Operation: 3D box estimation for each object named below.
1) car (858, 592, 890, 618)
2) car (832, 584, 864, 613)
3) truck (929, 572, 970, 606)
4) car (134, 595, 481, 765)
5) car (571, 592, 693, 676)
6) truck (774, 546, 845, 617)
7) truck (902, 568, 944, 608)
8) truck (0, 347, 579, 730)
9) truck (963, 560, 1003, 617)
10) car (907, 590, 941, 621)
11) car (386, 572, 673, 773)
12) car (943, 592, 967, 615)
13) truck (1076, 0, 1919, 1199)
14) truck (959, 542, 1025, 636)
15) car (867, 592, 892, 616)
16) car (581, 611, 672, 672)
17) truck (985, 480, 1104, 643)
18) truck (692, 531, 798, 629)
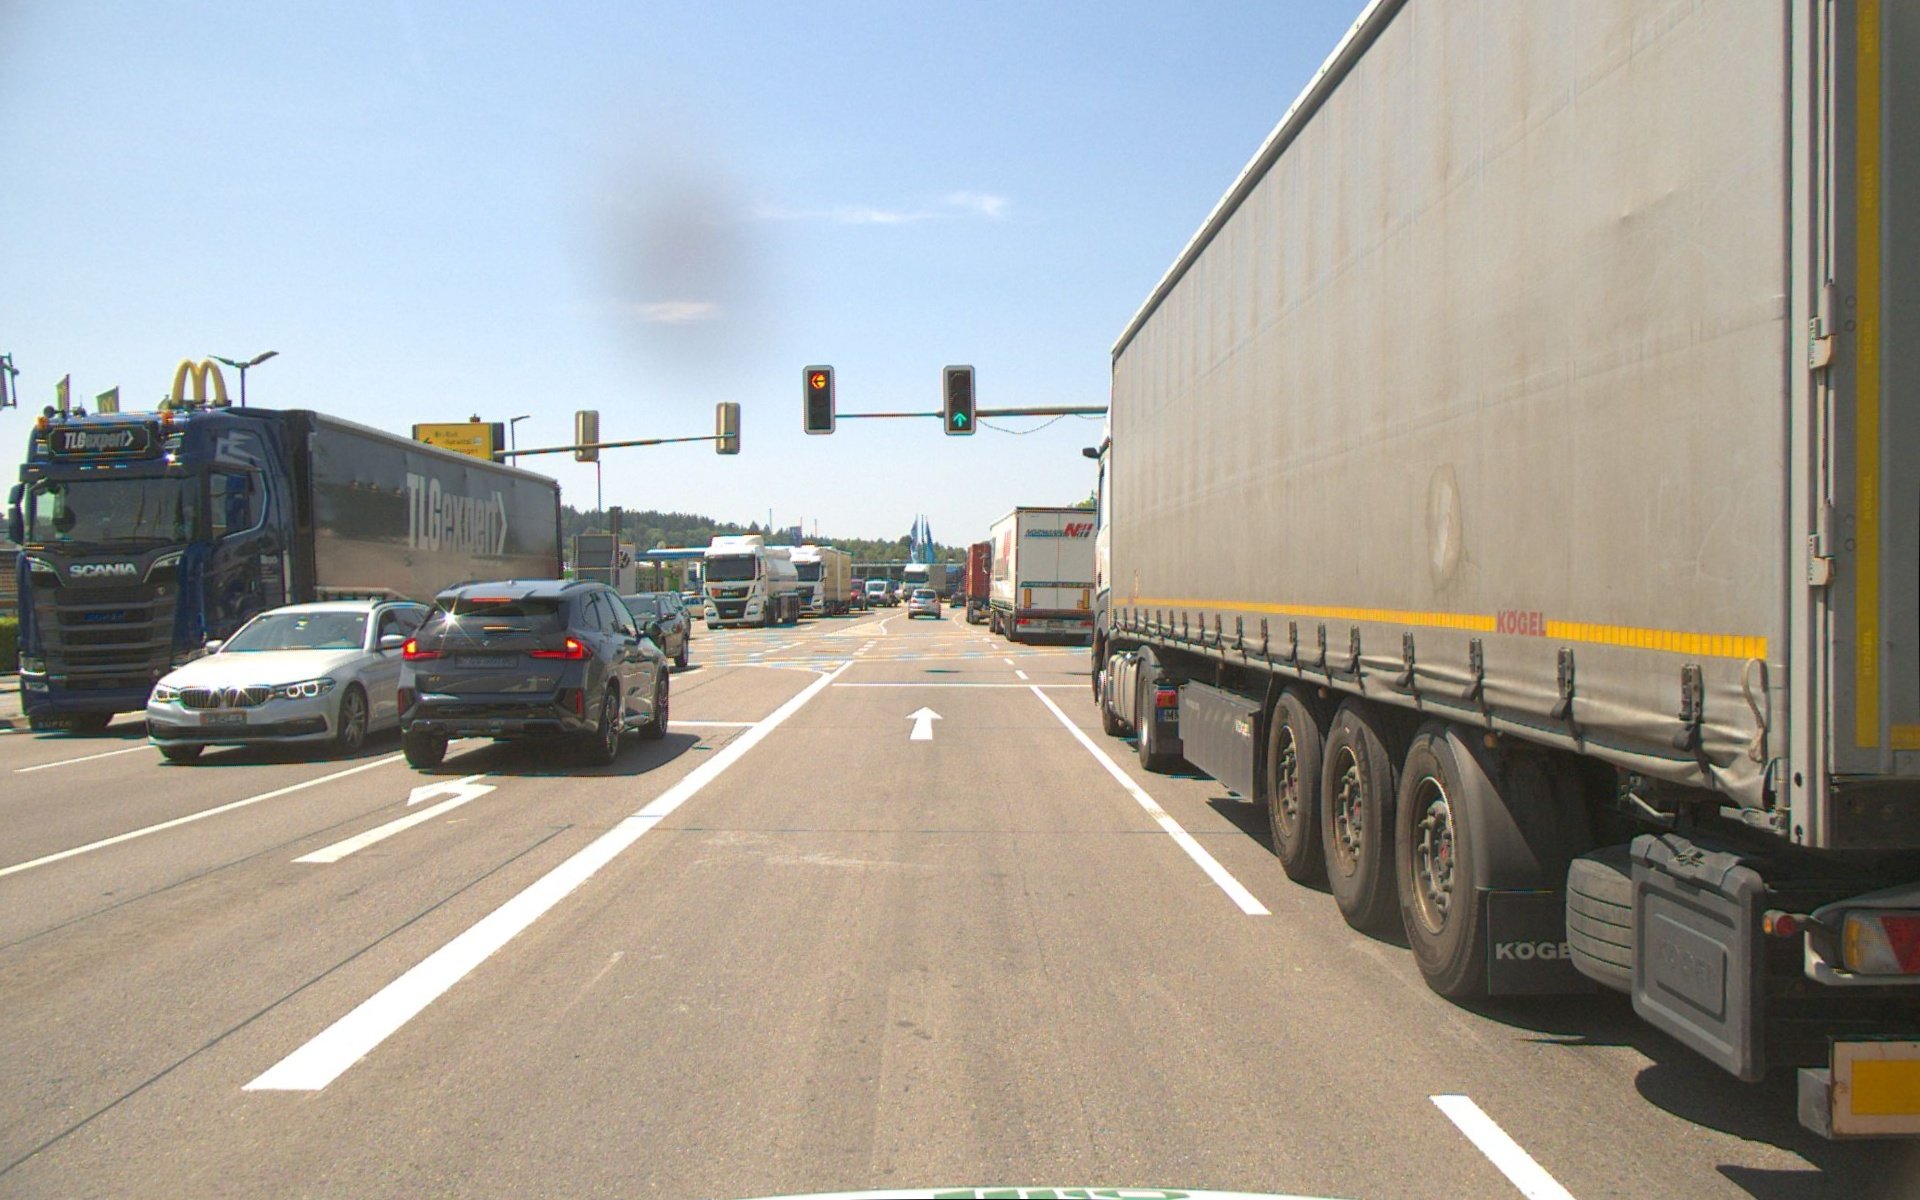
[{"bbox_3d":[-7.195,0.400,138.456,2.157,2.049,4.757,-1,0,2],"label":"car"},{"bbox_3d":[-8.290,-0.093,122.900,1.952,2.049,4.001,0,-1,2],"label":"car"},{"bbox_3d":[-1.176,-1.337,204.827,3.201,4.019,13.876,-1,0,7],"label":"truck"},{"bbox_3d":[-6.755,0.734,17.778,1.773,1.535,4.946,-1,0,0],"label":"car"},{"bbox_3d":[-6.497,0.634,33.152,1.630,1.535,3.904,-2,0,0],"label":"car"},{"bbox_3d":[-9.102,-1.083,101.625,2.874,4.019,13.866,-1,0,1],"label":"truck"},{"bbox_3d":[-4.004,-1.245,181.423,3.202,4.019,13.871,0,-1,4],"label":"truck"},{"bbox_3d":[-10.222,-0.757,28.183,3.081,4.425,17.543,-1,0,1],"label":"truck"},{"bbox_3d":[1.589,-0.710,117.195,2.555,3.782,9.446,0,-1,-1],"label":"truck"},{"bbox_3d":[-2.064,0.320,94.744,1.767,1.699,4.292,0,0,1],"label":"car"},{"bbox_3d":[-3.942,0.599,15.882,1.757,1.655,4.367,0,0,-2],"label":"car"},{"bbox_3d":[-0.467,0.297,149.692,1.952,2.049,4.001,-1,0,2],"label":"car"},{"bbox_3d":[2.934,-0.375,11.698,2.700,4.720,16.649,0,-1,-1],"label":"truck"},{"bbox_3d":[1.556,-0.380,88.529,2.817,4.557,16.649,0,-1,-1],"label":"truck"},{"bbox_3d":[-7.045,0.398,145.551,1.865,2.049,4.001,0,-1,2],"label":"car"},{"bbox_3d":[-9.905,1.207,49.369,1.788,1.610,4.245,-2,0,0],"label":"car"},{"bbox_3d":[2.571,-0.962,56.176,2.817,4.720,16.649,0,-1,-1],"label":"truck"},{"bbox_3d":[-9.665,-0.858,76.052,2.874,4.019,14.237,-1,0,0],"label":"truck"}]
